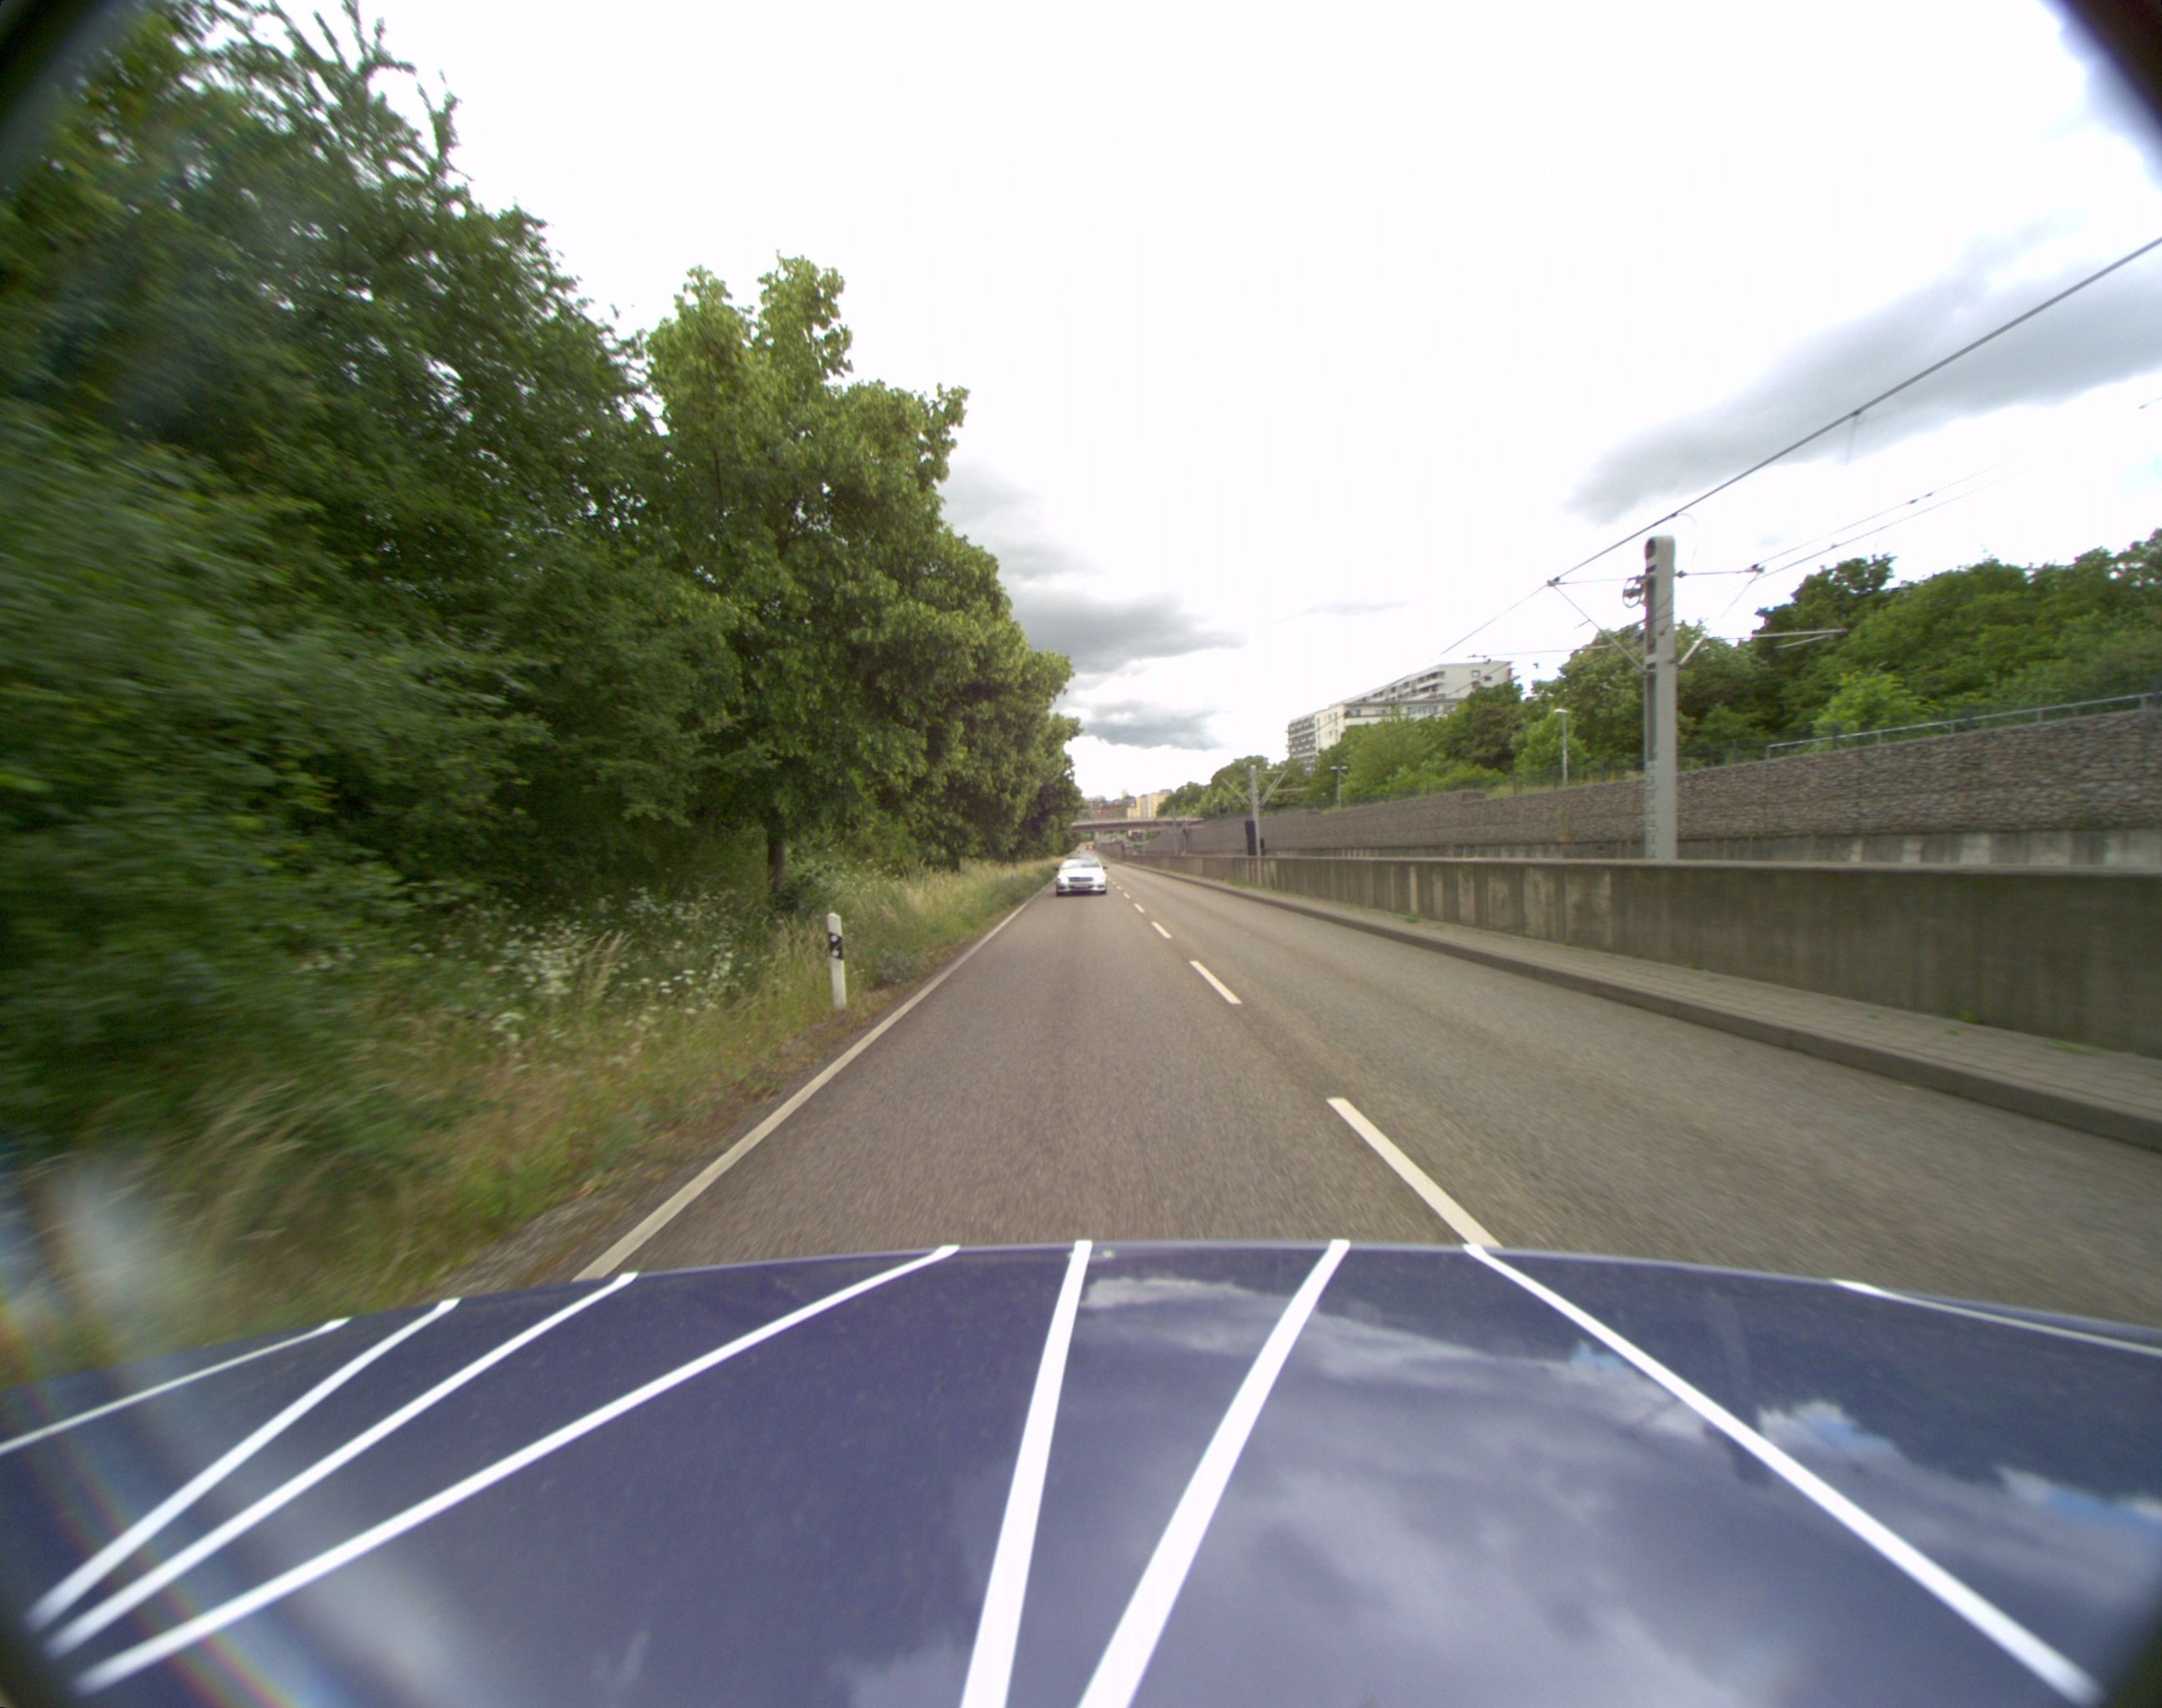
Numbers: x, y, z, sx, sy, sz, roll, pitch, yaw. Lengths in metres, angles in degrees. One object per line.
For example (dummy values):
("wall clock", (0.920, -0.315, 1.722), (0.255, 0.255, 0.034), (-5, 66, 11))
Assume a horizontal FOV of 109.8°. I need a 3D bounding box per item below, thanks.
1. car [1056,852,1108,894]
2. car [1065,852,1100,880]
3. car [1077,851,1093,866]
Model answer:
("car", (0.049, 0.697, 29.462), (1.842, 1.499, 4.161), (-1, 0, 0))
("car", (0.090, 0.665, 44.105), (1.878, 1.459, 3.999), (-2, 1, 0))
("car", (0.549, 0.529, 97.383), (1.998, 1.746, 4.000), (-2, 1, 1))
